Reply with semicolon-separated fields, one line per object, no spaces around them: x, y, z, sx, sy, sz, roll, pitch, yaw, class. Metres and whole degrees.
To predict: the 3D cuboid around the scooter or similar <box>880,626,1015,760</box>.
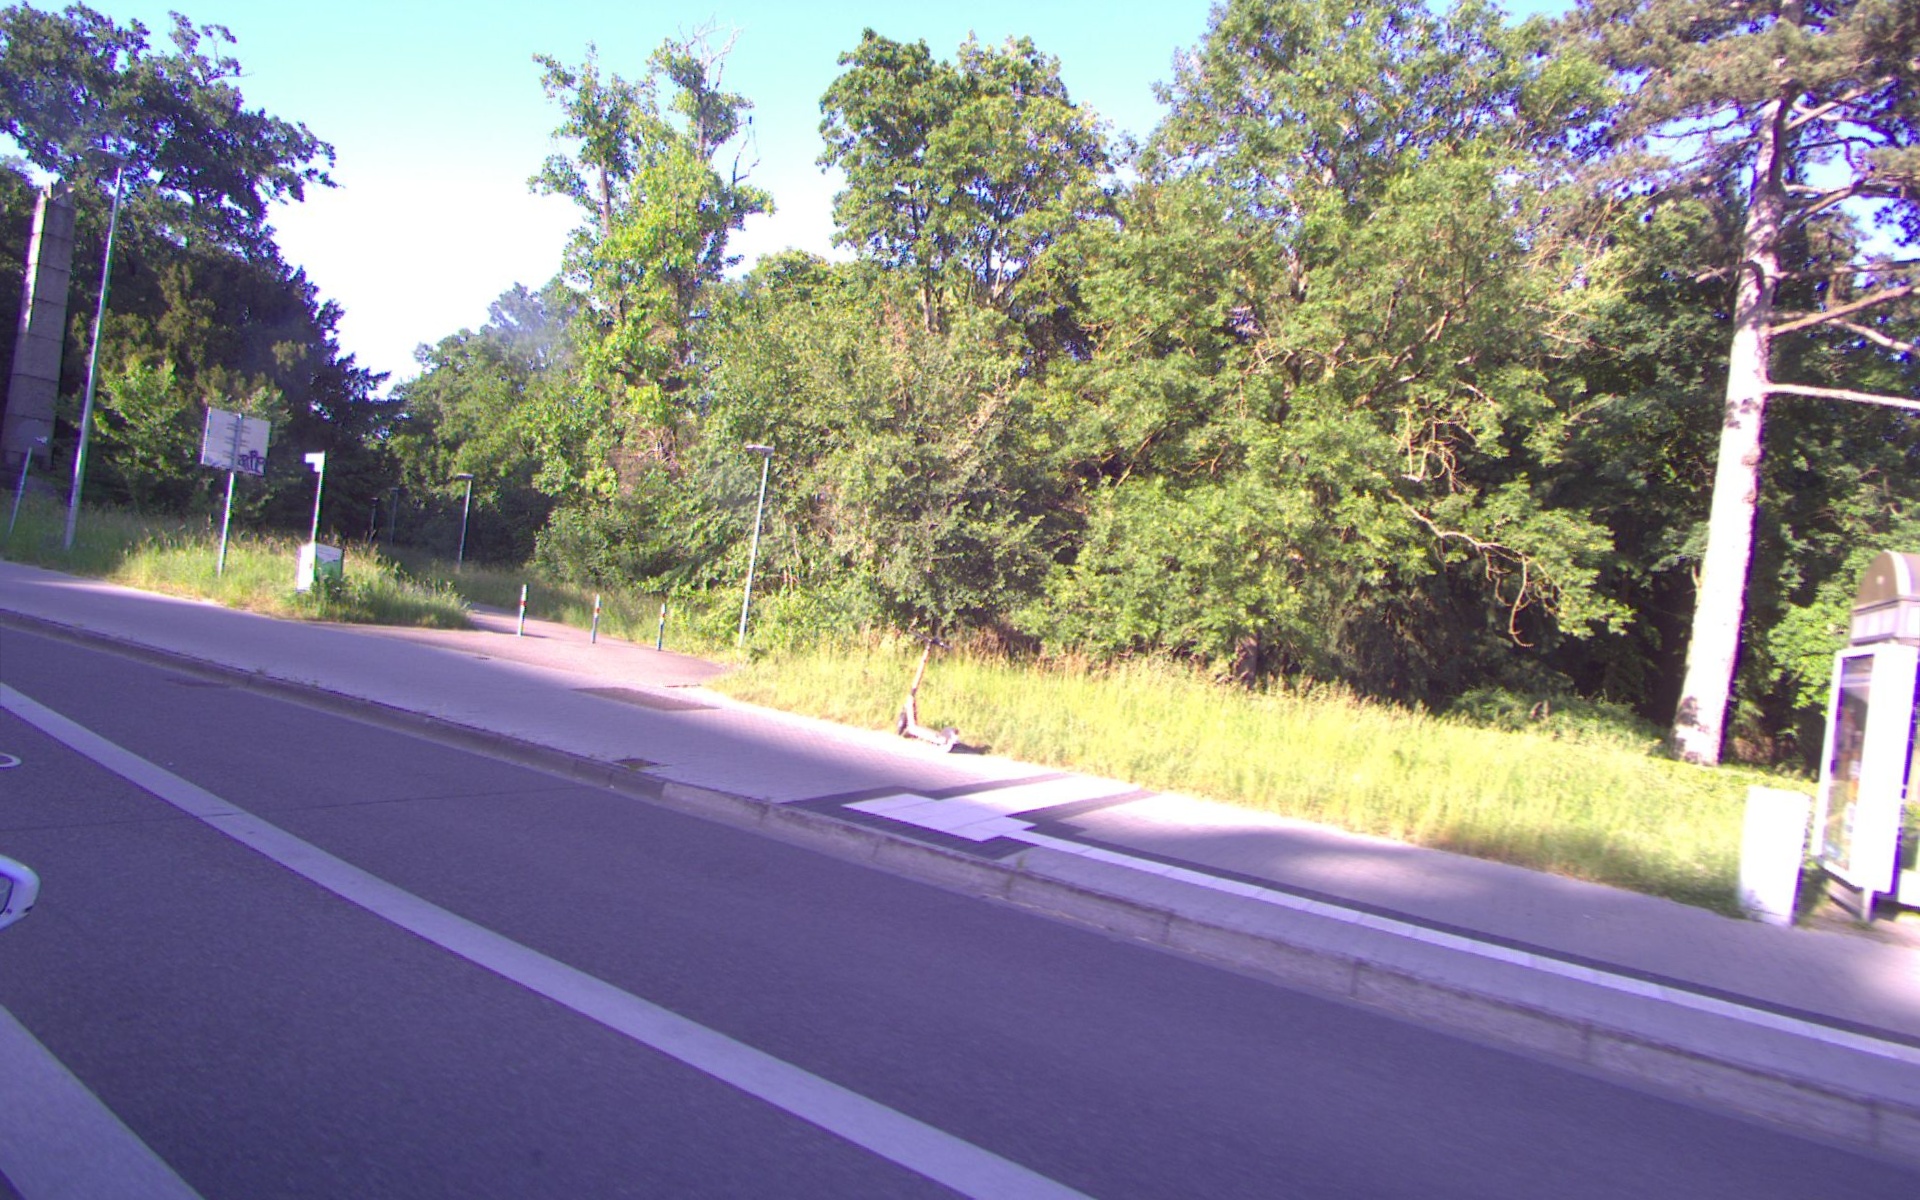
-0.160;1.014;11.187;0.718;1.263;1.314;7;0;-37;scooter or similar
